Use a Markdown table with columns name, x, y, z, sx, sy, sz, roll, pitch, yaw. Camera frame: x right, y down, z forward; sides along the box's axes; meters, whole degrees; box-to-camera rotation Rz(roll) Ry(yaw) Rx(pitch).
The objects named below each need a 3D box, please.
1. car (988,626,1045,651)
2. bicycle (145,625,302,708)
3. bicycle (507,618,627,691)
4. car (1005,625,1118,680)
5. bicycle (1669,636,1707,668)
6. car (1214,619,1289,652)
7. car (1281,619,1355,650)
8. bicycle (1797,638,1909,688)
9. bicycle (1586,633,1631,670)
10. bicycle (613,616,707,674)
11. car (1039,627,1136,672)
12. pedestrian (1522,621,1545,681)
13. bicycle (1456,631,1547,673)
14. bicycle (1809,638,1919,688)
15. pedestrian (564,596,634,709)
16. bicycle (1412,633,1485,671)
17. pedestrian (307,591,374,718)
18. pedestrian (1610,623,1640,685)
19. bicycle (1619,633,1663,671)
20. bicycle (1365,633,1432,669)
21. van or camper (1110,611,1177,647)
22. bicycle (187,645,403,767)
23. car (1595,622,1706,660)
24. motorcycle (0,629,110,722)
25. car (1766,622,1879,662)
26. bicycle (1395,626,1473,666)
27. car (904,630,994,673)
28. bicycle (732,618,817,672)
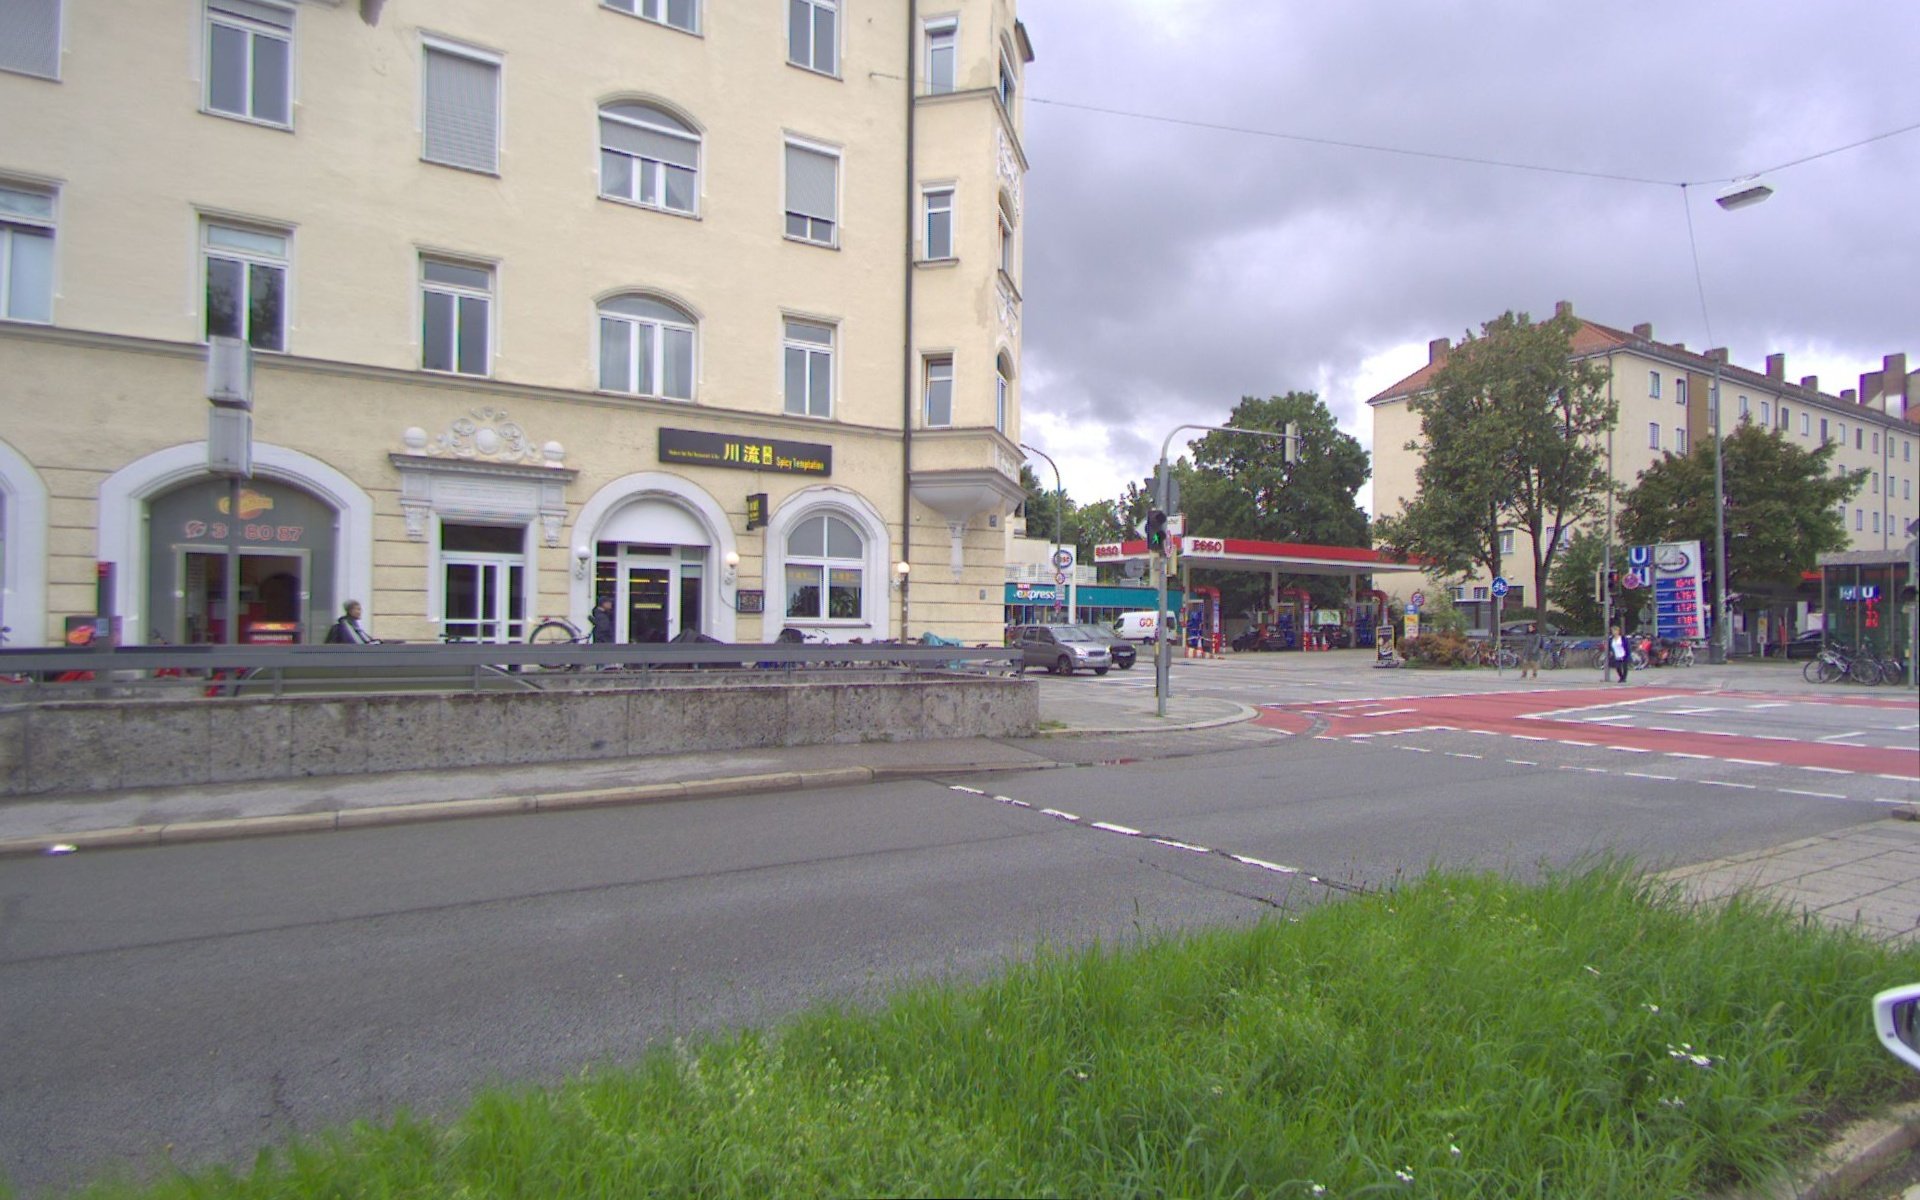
| name | x | y | z | sx | sy | sz | roll | pitch | yaw |
| --- | --- | --- | --- | --- | --- | --- | --- | --- | --- |
| car | 3.652 | 2.499 | 65.838 | 1.848 | 1.598 | 3.967 | 1 | -1 | -31 |
| bicycle | -9.208 | 0.814 | 12.620 | 1.527 | 0.993 | 0.470 | 1 | -1 | -30 |
| bicycle | -5.589 | 0.769 | 14.312 | 1.527 | 0.993 | 0.470 | 1 | -1 | -30 |
| car | 3.081 | 1.580 | 31.105 | 1.646 | 1.537 | 3.599 | 1 | -1 | -32 |
| bicycle | 26.785 | 1.894 | 36.957 | 1.947 | 1.160 | 0.603 | 1 | -1 | -37 |
| car | 16.408 | 1.973 | 56.687 | 1.836 | 1.808 | 3.968 | 1 | -1 | -30 |
| car | 21.643 | 2.066 | 60.868 | 1.836 | 1.808 | 3.968 | 1 | -1 | -30 |
| bicycle | 25.190 | 1.749 | 28.390 | 0.695 | 1.322 | 2.262 | 1 | -1 | -28 |
| bicycle | 22.412 | 1.760 | 34.712 | 2.167 | 1.252 | 0.603 | 1 | -1 | -37 |
| bicycle | -5.279 | 0.781 | 17.702 | 1.527 | 0.993 | 0.470 | 1 | -1 | -30 |
| car | 4.346 | 1.663 | 34.731 | 1.643 | 1.430 | 3.534 | 1 | -1 | -27 |
| pedestrian | 16.912 | 1.493 | 29.634 | 0.581 | 1.717 | 0.576 | 0 | -1 | 29 |
| bicycle | 18.441 | 1.763 | 34.228 | 2.664 | 1.267 | 0.792 | 2 | 0 | 30 |
| bicycle | 25.863 | 1.780 | 28.764 | 0.685 | 1.322 | 2.275 | 1 | -1 | -28 |
| pedestrian | -5.707 | 0.814 | 15.876 | 0.934 | 1.719 | 0.588 | 1 | -1 | -30 |
| bicycle | 16.901 | 1.792 | 34.795 | 0.760 | 1.252 | 2.161 | 1 | -1 | -41 |
| pedestrian | -8.621 | 0.748 | 13.989 | 0.762 | 1.719 | 0.540 | 1 | -1 | -32 |
| pedestrian | 18.903 | 1.527 | 28.537 | 0.570 | 1.717 | 0.531 | 1 | -1 | -32 |
| bicycle | 23.434 | 1.771 | 34.558 | 2.167 | 1.252 | 0.603 | 1 | -1 | -37 |
| bicycle | 15.885 | 1.828 | 36.437 | 0.759 | 1.252 | 2.162 | 1 | -1 | -39 |
| van or camper | 12.508 | 1.935 | 68.617 | 1.899 | 2.354 | 4.508 | 1 | -1 | -34 |
| bicycle | -6.750 | 1.038 | 10.261 | 1.798 | 1.130 | 0.392 | 1 | -1 | -39 |
| car | 31.757 | 1.865 | 46.261 | 1.803 | 1.630 | 3.919 | 1 | -1 | -41 |
| motorcycle | -12.392 | 0.976 | 13.297 | 1.947 | 1.137 | 0.610 | 1 | -1 | 10 |
| car | 43.362 | 2.078 | 50.588 | 1.860 | 1.862 | 3.965 | 1 | -1 | -32 |
| bicycle | 16.958 | 1.626 | 35.995 | 0.785 | 1.267 | 2.374 | 2 | 0 | -40 |
| car | -0.477 | 1.866 | 37.331 | 1.643 | 1.430 | 4.299 | 1 | -1 | -27 |
| bicycle | -3.525 | 0.843 | 19.167 | 1.527 | 0.993 | 0.470 | 1 | -1 | -30 |
